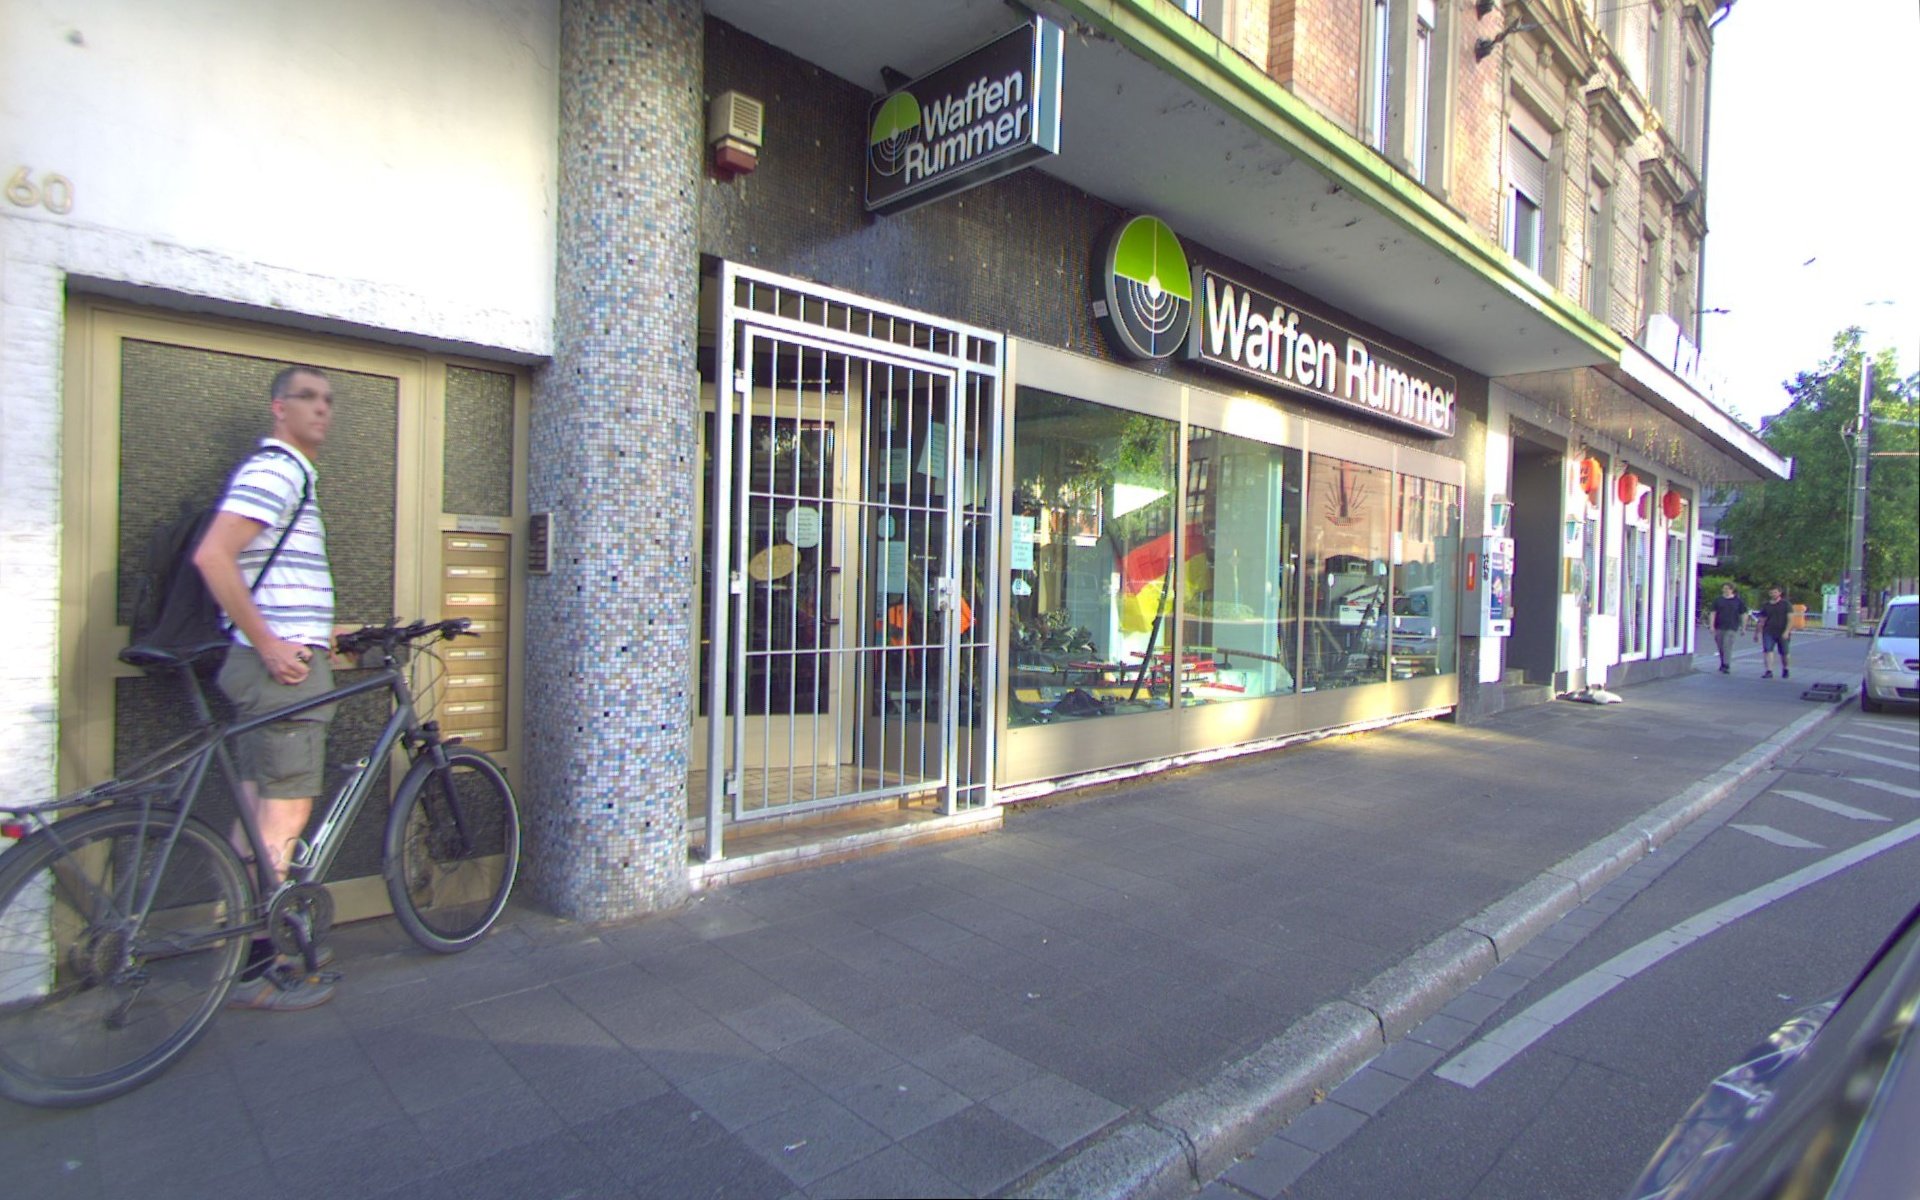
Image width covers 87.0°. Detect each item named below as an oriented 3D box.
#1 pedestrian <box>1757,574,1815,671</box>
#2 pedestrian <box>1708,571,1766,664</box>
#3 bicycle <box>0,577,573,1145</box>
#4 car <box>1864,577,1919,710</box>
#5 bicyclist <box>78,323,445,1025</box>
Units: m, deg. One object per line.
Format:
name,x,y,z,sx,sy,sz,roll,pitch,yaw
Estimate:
pedestrian,15.449,0.409,18.932,0.494,1.744,0.700,1,3,-42
pedestrian,15.101,0.331,19.678,0.669,1.744,0.700,1,3,-42
bicycle,-2.164,0.573,3.221,0.660,1.269,1.883,2,1,20
car,13.986,0.570,14.027,3.930,1.705,1.670,0,1,-41
bicyclist,-2.168,0.190,3.201,0.592,1.905,0.739,2,1,20
